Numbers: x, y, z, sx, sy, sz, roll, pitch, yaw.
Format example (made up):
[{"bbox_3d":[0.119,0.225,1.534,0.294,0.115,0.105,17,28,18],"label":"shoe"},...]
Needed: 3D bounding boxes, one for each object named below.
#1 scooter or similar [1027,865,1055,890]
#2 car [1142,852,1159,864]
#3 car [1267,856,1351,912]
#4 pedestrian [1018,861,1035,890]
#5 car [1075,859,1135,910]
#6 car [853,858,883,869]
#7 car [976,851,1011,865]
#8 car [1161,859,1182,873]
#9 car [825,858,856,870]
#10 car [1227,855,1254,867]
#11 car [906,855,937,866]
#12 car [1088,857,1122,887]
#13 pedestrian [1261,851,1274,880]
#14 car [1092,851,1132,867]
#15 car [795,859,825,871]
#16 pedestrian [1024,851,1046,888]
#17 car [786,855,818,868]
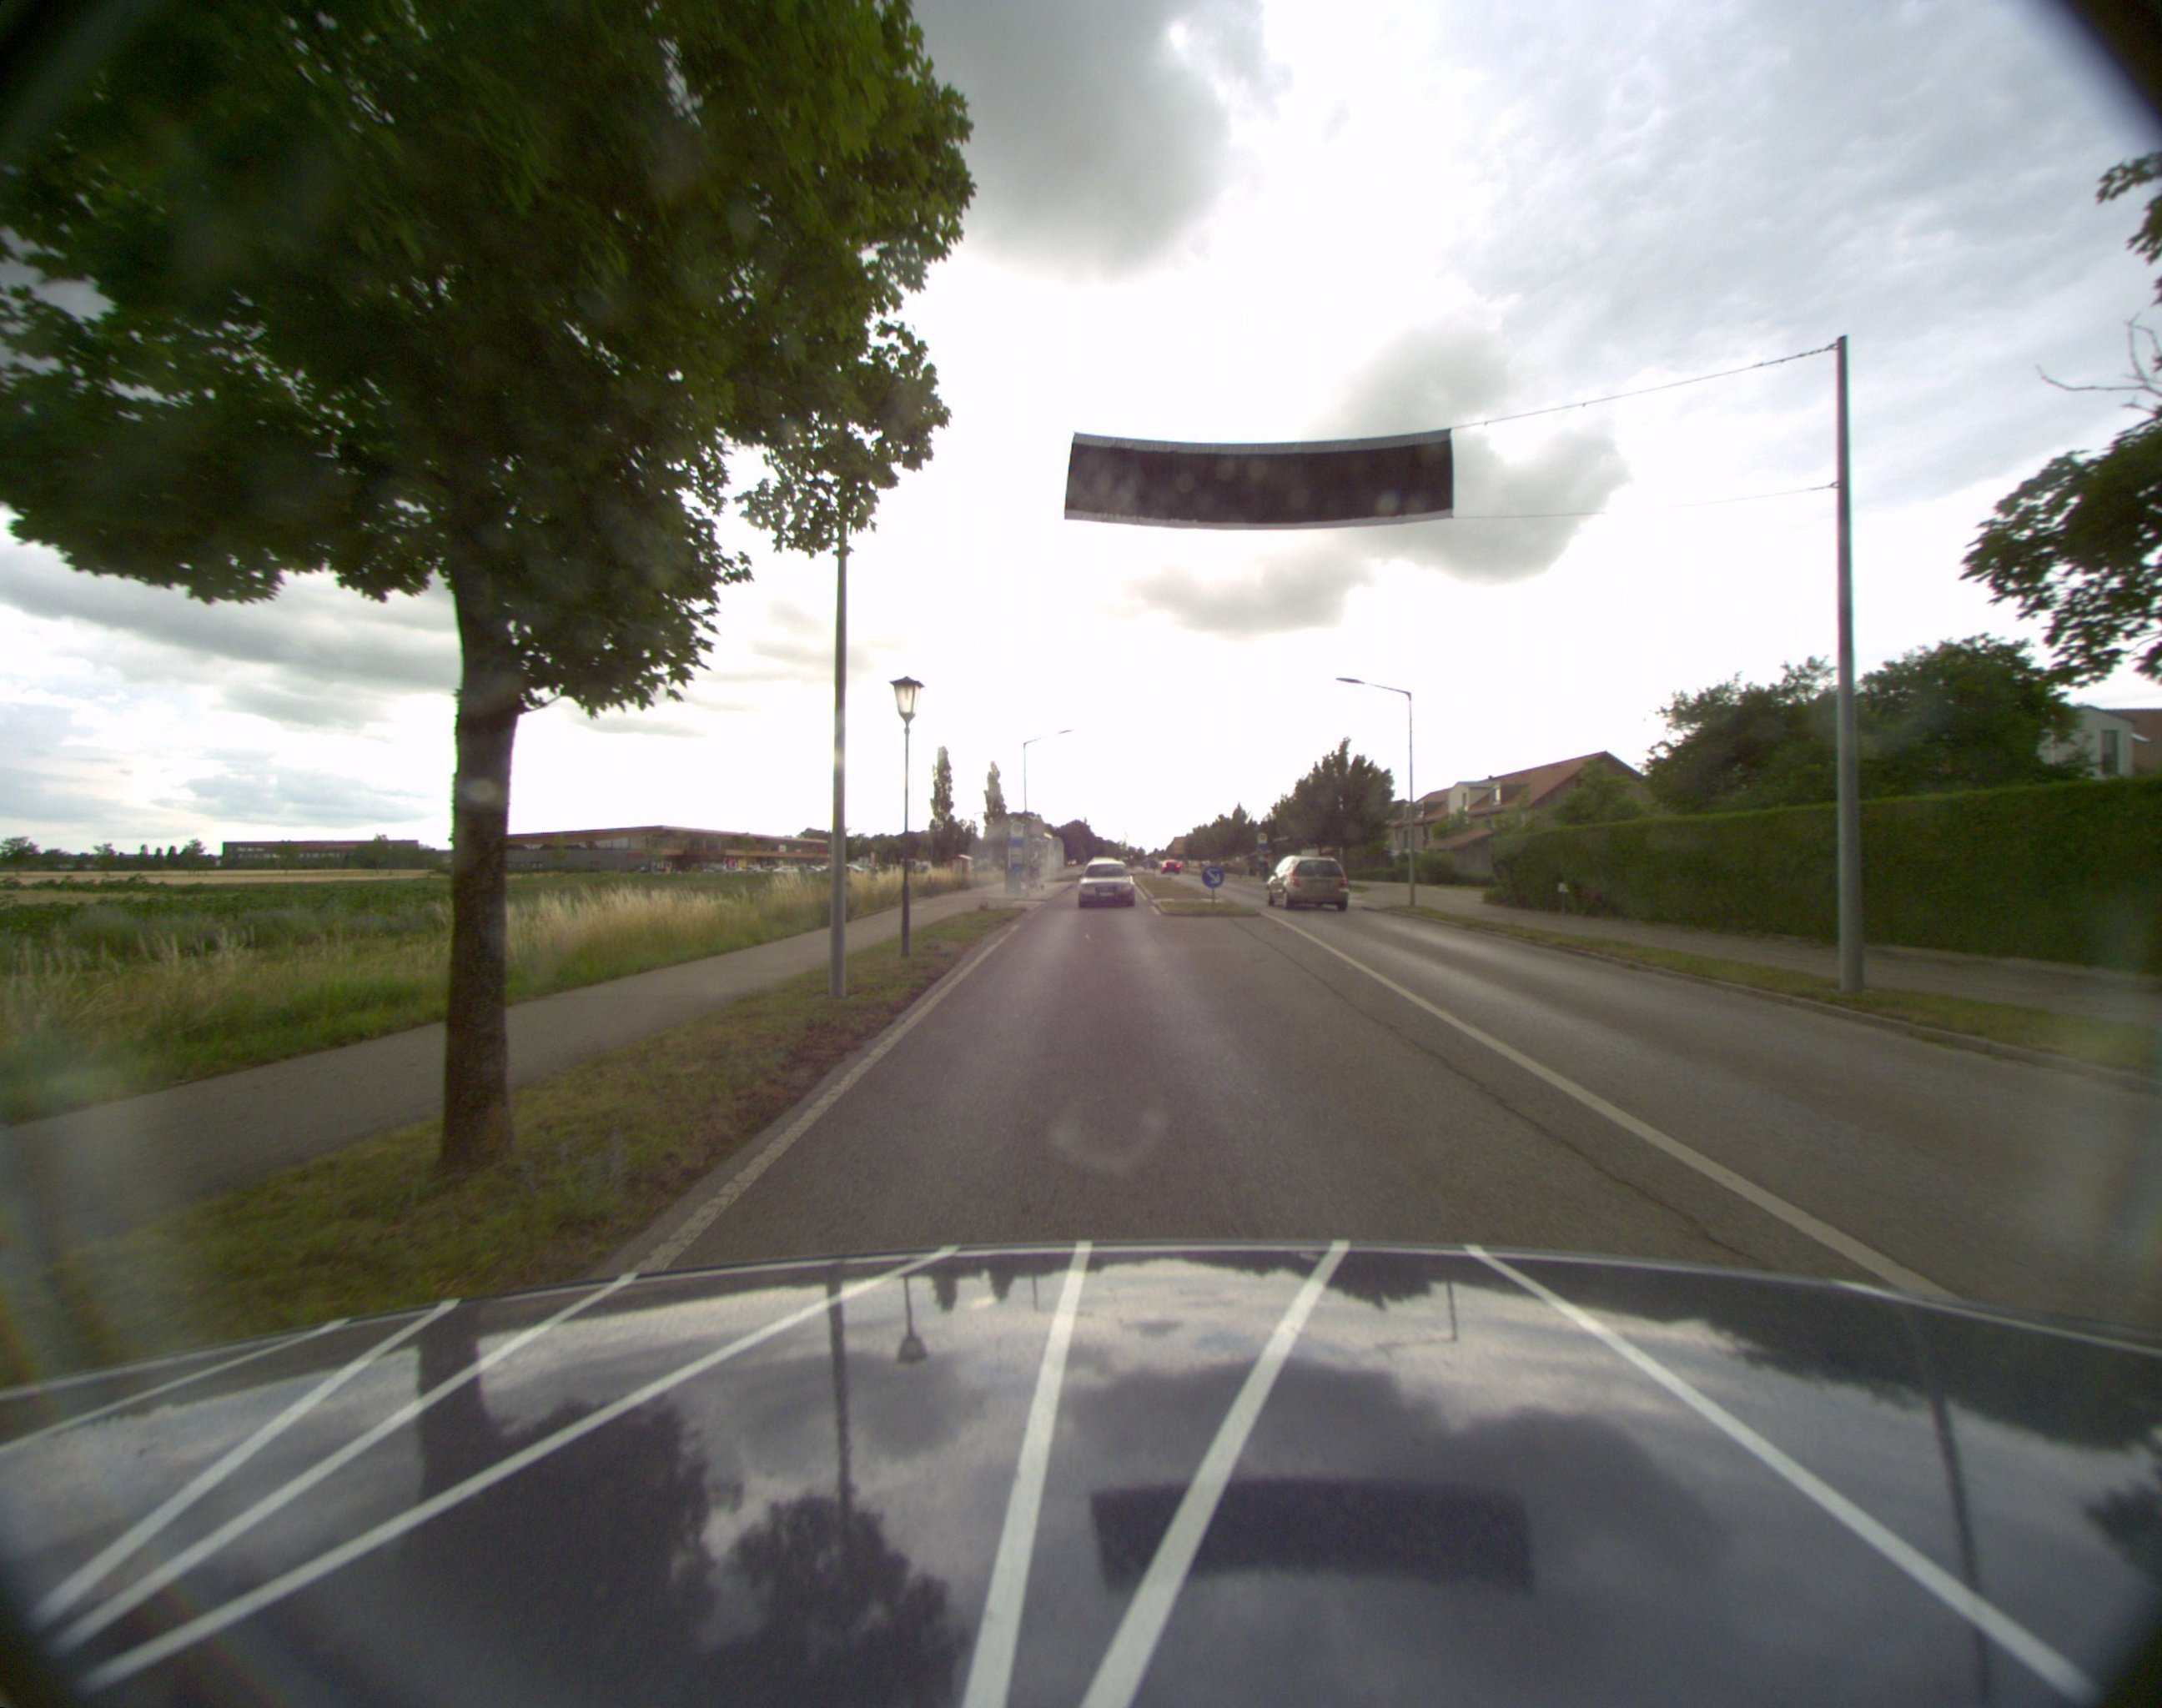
[{"bbox_3d":[-1.837,1.075,34.890,0.707,1.056,1.062,-2,1,39],"label":"scooter or similar"},{"bbox_3d":[12.073,0.662,131.657,2.560,2.002,5.318,-2,0,2],"label":"car"},{"bbox_3d":[6.811,0.841,23.032,1.711,1.523,3.509,1,0,4],"label":"car"},{"bbox_3d":[-2.482,0.964,34.443,0.666,1.295,0.505,-3,1,2],"label":"pedestrian"},{"bbox_3d":[0.808,0.932,25.142,1.763,1.410,4.520,-2,0,2],"label":"car"},{"bbox_3d":[-42.425,1.897,151.429,5.526,2.002,1.999,-2,1,-4],"label":"car"},{"bbox_3d":[-13.958,0.705,121.598,5.526,2.002,1.999,-2,1,-4],"label":"car"},{"bbox_3d":[9.843,1.308,82.842,1.924,1.445,4.497,0,0,3],"label":"car"},{"bbox_3d":[-43.187,1.770,136.613,4.857,2.002,1.999,-2,1,-6],"label":"car"},{"bbox_3d":[29.369,1.338,139.954,4.567,2.002,2.001,-2,1,7],"label":"car"},{"bbox_3d":[-30.658,1.235,146.291,5.526,2.002,1.999,-2,1,-4],"label":"car"},{"bbox_3d":[1.348,0.948,42.374,1.763,1.495,4.691,-2,0,2],"label":"car"},{"bbox_3d":[10.918,0.671,44.518,0.589,1.626,0.813,-1,0,2],"label":"pedestrian"},{"bbox_3d":[4.318,0.738,106.791,5.317,2.002,1.998,-2,1,-9],"label":"car"},{"bbox_3d":[-49.814,2.012,139.827,4.857,2.002,1.999,-2,1,-6],"label":"car"},{"bbox_3d":[-2.315,0.773,38.302,0.782,1.782,0.780,-2,1,23],"label":"pedestrian"},{"bbox_3d":[-48.964,1.301,133.313,4.857,2.002,1.999,-2,1,-6],"label":"car"}]
